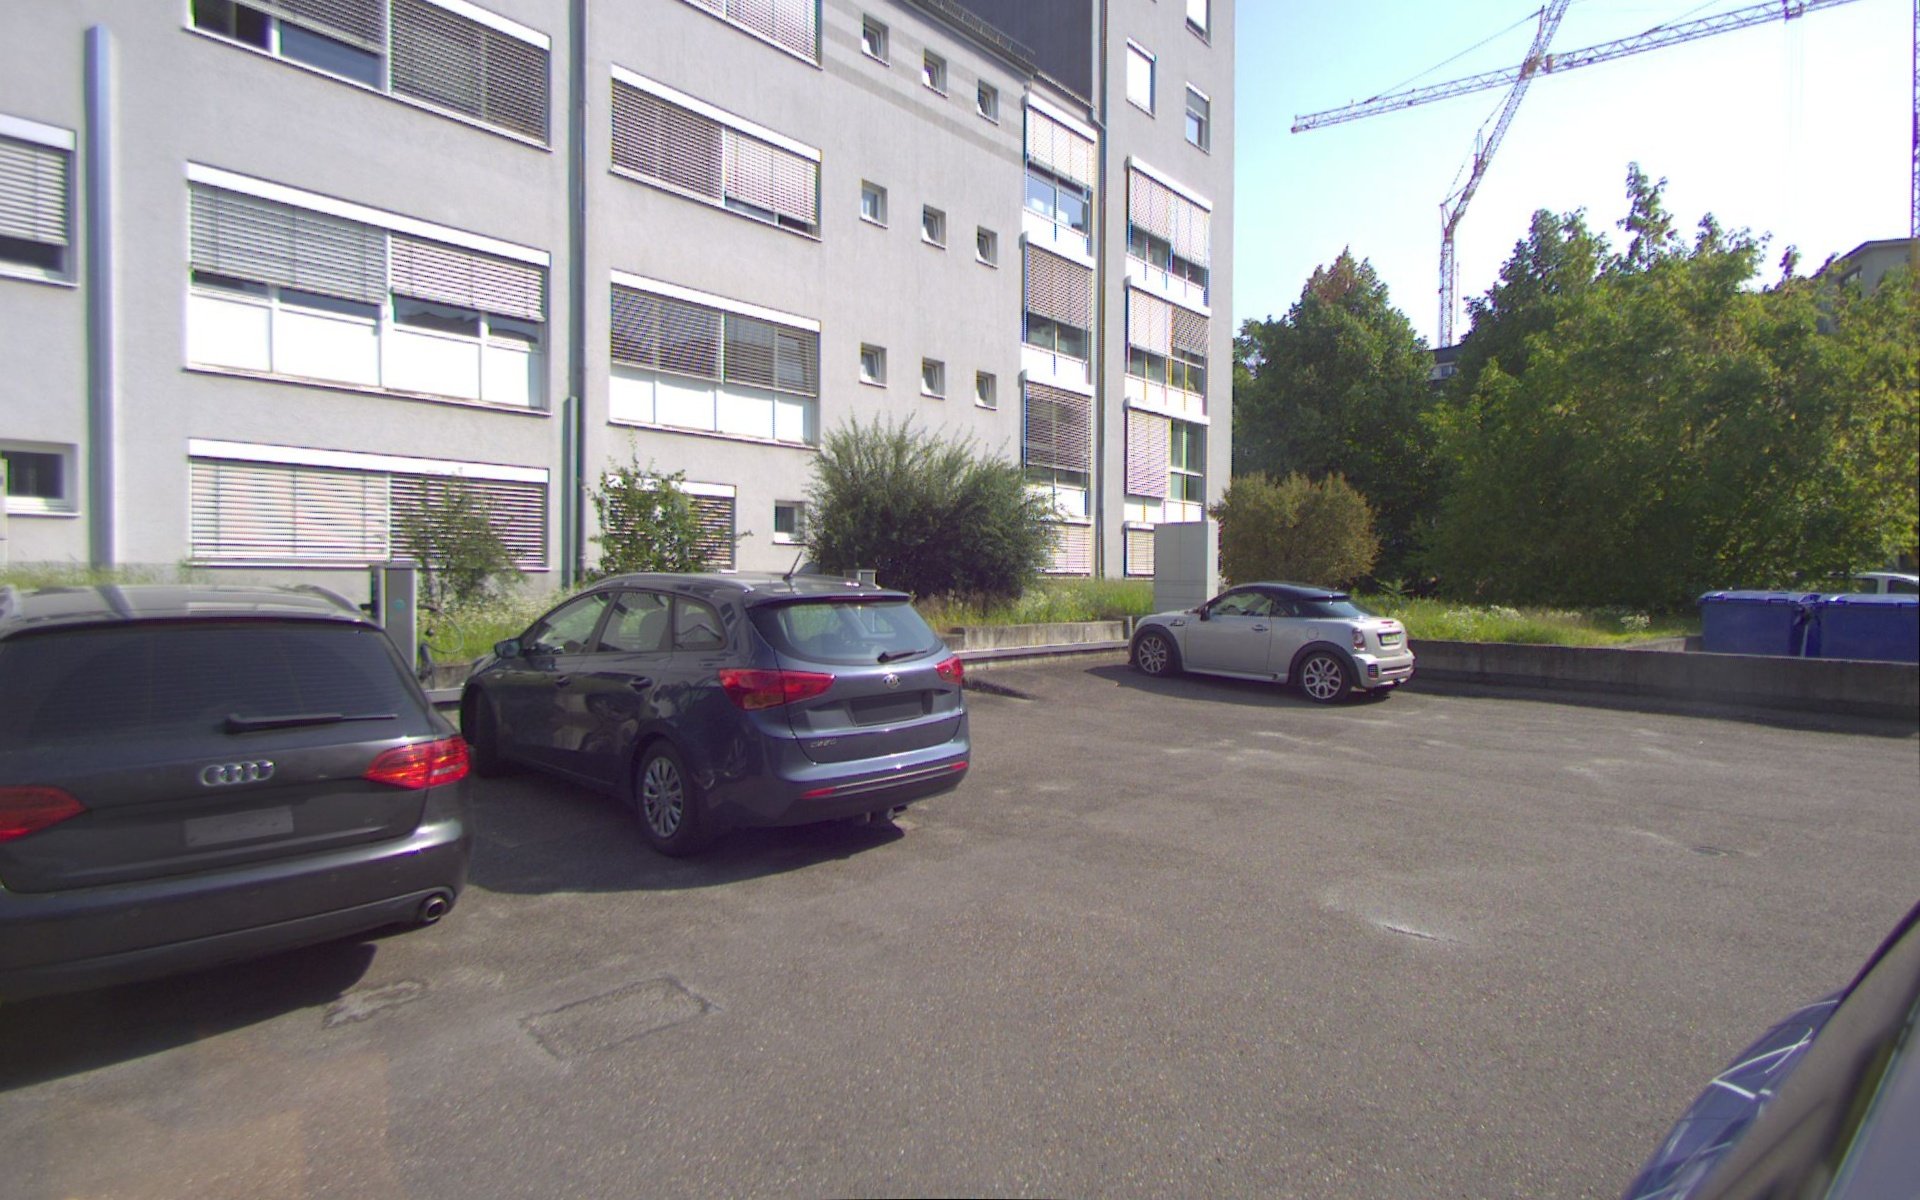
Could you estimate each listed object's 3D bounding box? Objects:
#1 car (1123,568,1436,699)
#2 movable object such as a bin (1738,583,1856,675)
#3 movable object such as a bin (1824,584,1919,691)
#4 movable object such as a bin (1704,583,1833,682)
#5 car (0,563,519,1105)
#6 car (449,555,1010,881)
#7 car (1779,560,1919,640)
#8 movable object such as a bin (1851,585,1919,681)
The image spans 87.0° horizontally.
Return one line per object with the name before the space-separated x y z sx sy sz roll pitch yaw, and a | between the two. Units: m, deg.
car | 4.068 0.331 13.252 1.631 1.455 3.574 0 2 -43
movable object such as a bin | 12.974 0.411 15.687 1.252 1.344 1.199 0 1 -40
movable object such as a bin | 12.579 0.477 13.687 1.253 1.368 1.212 0 1 -42
movable object such as a bin | 11.775 0.435 14.747 1.252 1.344 1.256 0 1 -40
car | -3.619 0.571 4.633 1.662 1.455 4.238 0 2 -42
car | -1.748 0.485 6.687 4.048 1.496 1.714 2 2 45
car | 24.213 -0.015 25.889 1.874 1.955 4.790 0 1 -38
movable object such as a bin | 13.812 0.455 14.656 1.252 1.344 1.199 0 1 -40
